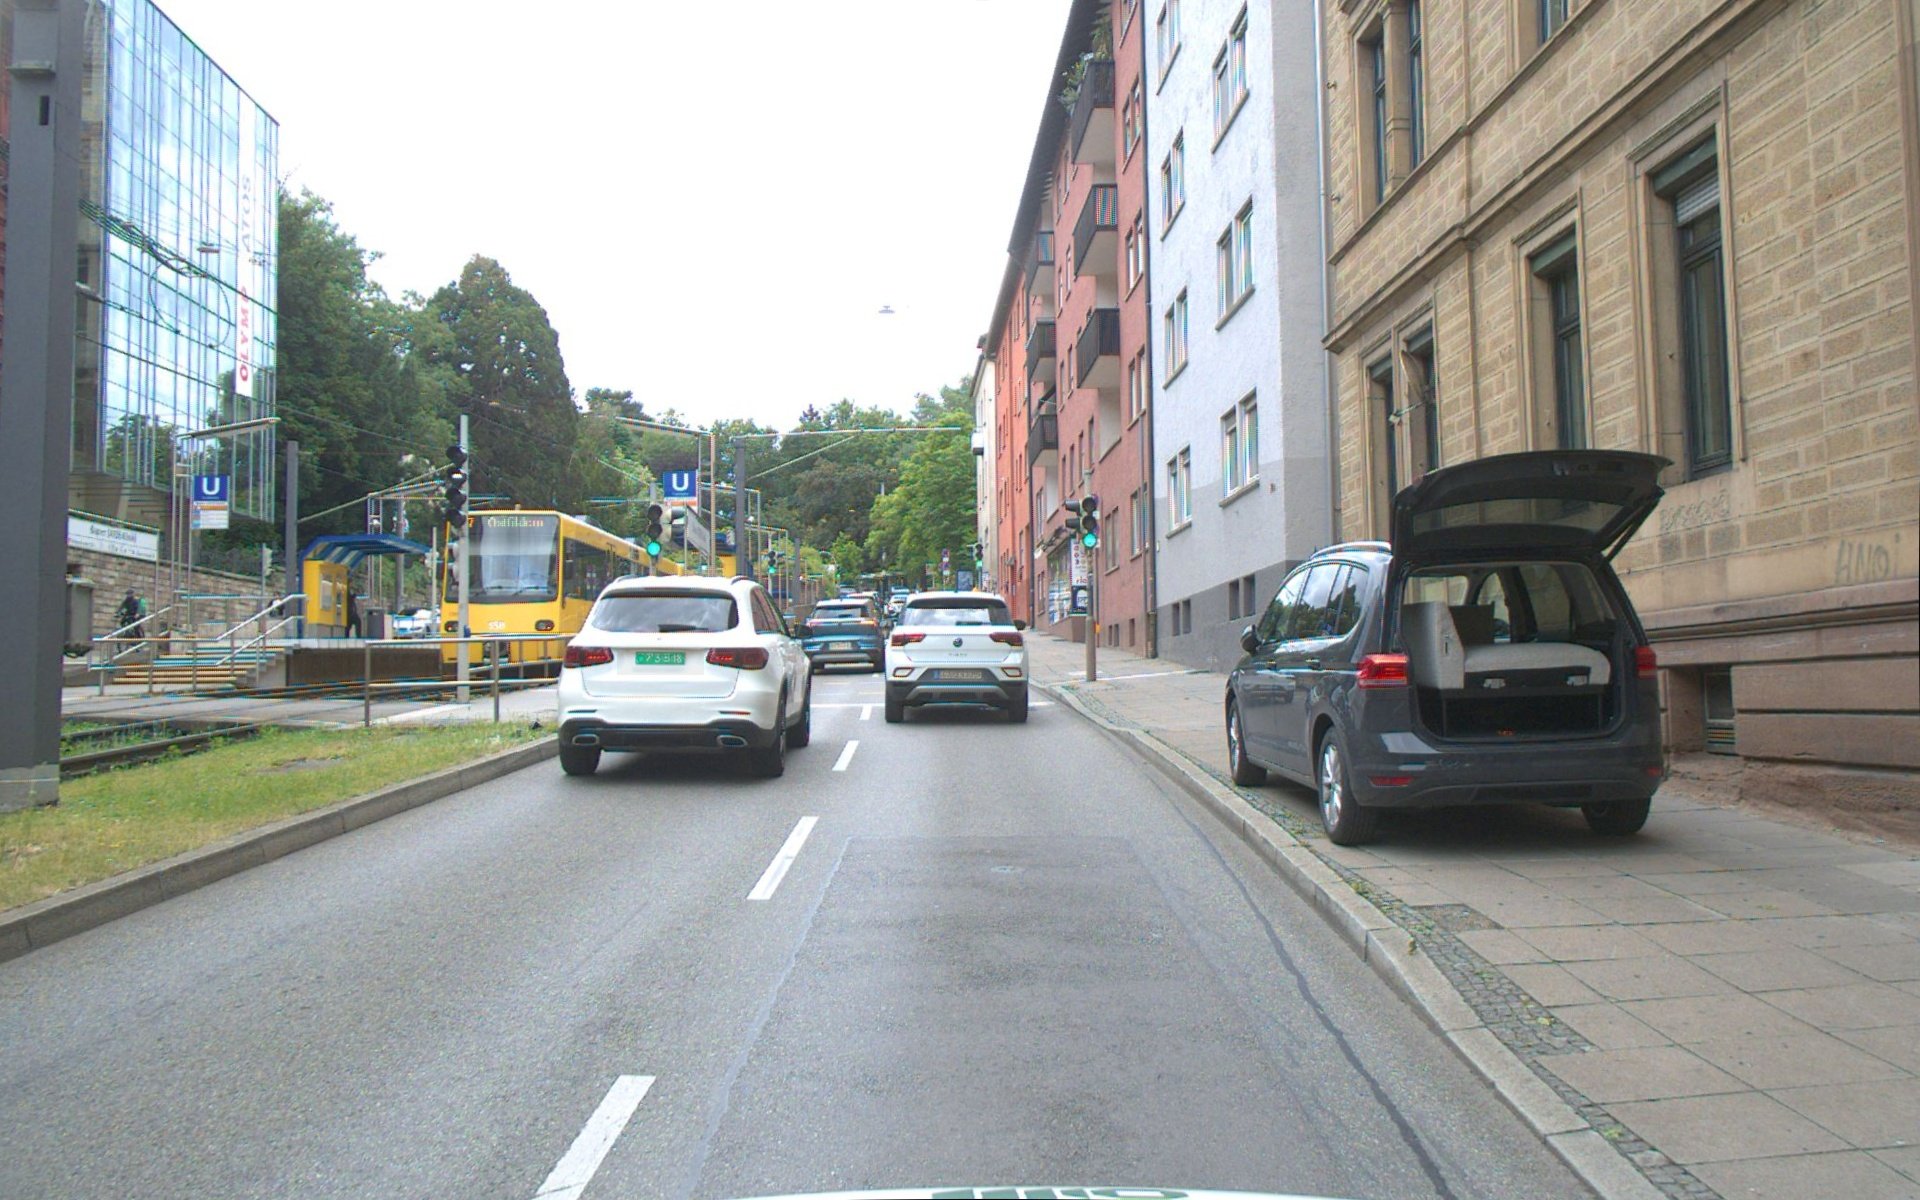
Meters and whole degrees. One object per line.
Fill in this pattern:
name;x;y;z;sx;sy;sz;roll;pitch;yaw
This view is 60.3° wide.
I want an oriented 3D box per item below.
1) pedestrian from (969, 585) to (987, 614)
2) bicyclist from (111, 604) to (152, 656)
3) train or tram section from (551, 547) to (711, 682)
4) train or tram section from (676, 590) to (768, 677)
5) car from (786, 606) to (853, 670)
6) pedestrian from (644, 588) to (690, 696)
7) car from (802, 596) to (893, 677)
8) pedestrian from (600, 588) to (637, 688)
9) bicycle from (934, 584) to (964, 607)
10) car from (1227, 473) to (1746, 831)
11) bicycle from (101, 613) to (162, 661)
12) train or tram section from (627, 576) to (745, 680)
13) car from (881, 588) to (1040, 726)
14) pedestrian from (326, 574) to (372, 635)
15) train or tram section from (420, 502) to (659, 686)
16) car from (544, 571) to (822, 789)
pedestrian;1.082;-0.045;100.042;0.819;1.742;0.818;-2;0;-16
bicyclist;-23.472;0.840;46.882;0.754;1.453;0.905;0;0;-7
train or tram section;-9.921;0.687;51.281;2.890;3.533;12.211;-1;-3;-2
train or tram section;-10.757;1.569;76.085;2.890;3.570;12.978;-1;-1;-3
car;-4.426;1.171;52.746;1.954;1.914;3.998;0;0;-3
pedestrian;-4.754;0.672;26.828;0.665;1.709;0.685;0;0;-5
car;-2.409;0.747;36.302;1.823;1.660;3.958;-1;0;-2
pedestrian;-6.007;0.666;29.105;0.610;1.725;0.658;0;-1;-12
bicycle;-0.626;-0.242;92.753;0.633;1.161;2.046;-12;5;-27
car;3.012;0.253;10.510;1.820;1.741;4.307;-2;0;-1
bicycle;-23.464;1.019;46.864;0.758;1.306;2.422;0;0;-7
train or tram section;-10.310;1.186;63.532;2.890;3.545;12.212;-1;-2;-2
car;-0.021;0.650;21.020;1.827;1.583;3.894;0;0;-1
pedestrian;-16.385;0.123;44.346;0.956;1.623;0.765;0;0;-2
train or tram section;-9.463;0.129;38.979;2.890;3.606;12.391;-1;-2;-2
car;-2.329;0.615;14.992;1.839;1.681;4.340;0;0;-1
